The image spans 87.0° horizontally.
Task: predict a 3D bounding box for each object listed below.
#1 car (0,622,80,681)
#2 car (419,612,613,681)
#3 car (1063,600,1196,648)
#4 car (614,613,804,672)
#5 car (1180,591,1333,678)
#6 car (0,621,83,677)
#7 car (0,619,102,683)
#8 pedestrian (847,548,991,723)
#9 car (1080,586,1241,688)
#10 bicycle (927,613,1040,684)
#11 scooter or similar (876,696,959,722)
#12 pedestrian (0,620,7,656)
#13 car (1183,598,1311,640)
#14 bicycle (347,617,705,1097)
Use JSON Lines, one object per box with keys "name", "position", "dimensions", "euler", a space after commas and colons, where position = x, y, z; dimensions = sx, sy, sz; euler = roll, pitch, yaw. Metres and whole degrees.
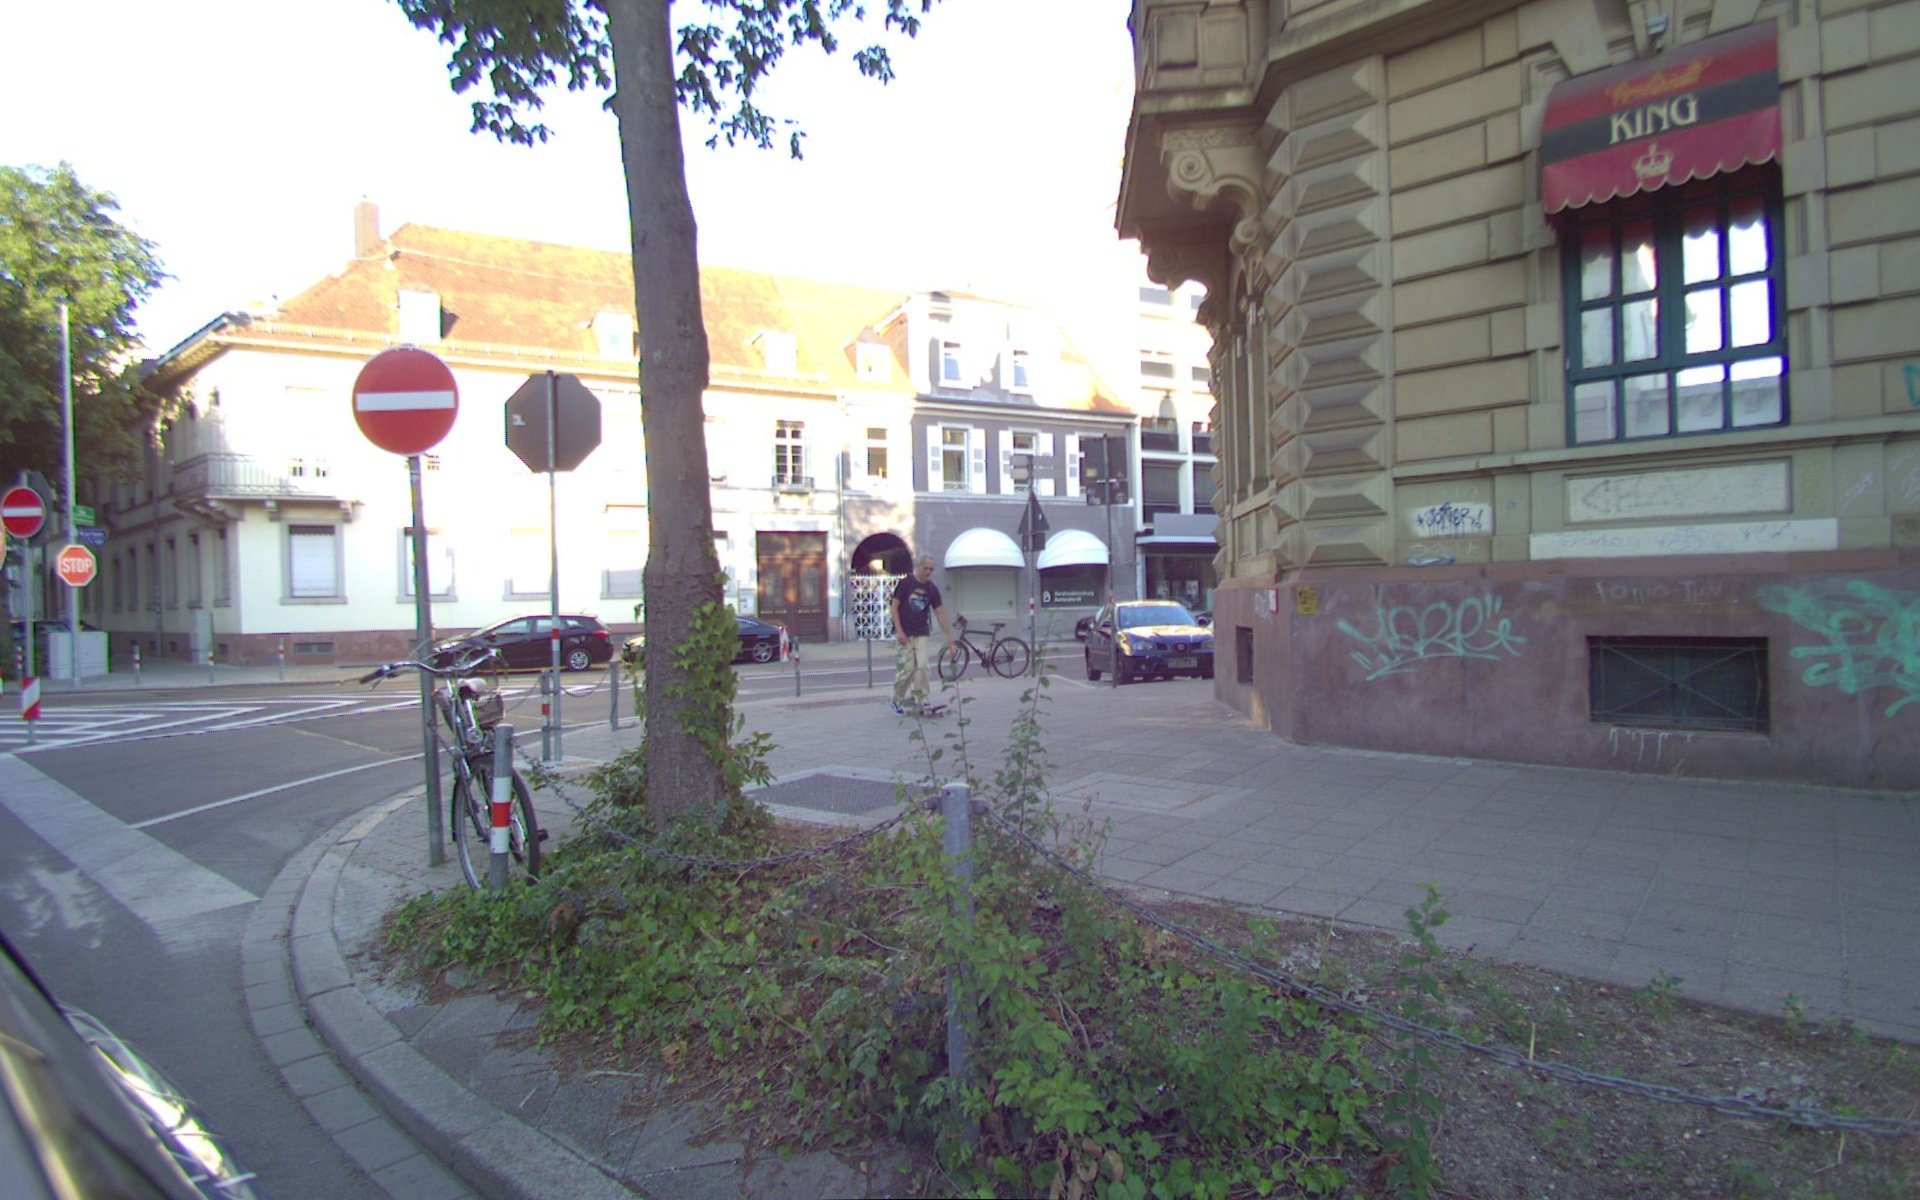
{"name": "car", "position": [-27.662, 1.482, 28.632], "dimensions": [1.721, 1.627, 3.948], "euler": [-2, -1, 38]}
{"name": "car", "position": [-11.214, 1.144, 25.683], "dimensions": [4.354, 1.553, 1.813], "euler": [-1, -1, -27]}
{"name": "car", "position": [5.766, 0.788, 34.391], "dimensions": [4.176, 1.458, 1.754], "euler": [-1, -1, -27]}
{"name": "car", "position": [-6.855, 1.134, 27.731], "dimensions": [4.773, 1.405, 1.784], "euler": [-1, -1, -25]}
{"name": "car", "position": [5.895, 0.714, 20.722], "dimensions": [1.744, 1.523, 4.627], "euler": [-2, -2, 1]}
{"name": "car", "position": [-29.238, 1.507, 30.535], "dimensions": [1.721, 1.627, 3.948], "euler": [-2, -1, 38]}
{"name": "car", "position": [-25.775, 1.377, 27.153], "dimensions": [1.826, 1.627, 3.948], "euler": [-2, -1, 38]}
{"name": "pedestrian", "position": [-0.453, 0.376, 10.893], "dimensions": [0.838, 1.752, 1.268], "euler": [-2, -2, -43]}
{"name": "car", "position": [3.240, 0.673, 17.132], "dimensions": [1.715, 1.472, 3.865], "euler": [-2, -3, -3]}
{"name": "bicycle", "position": [0.401, 0.839, 17.597], "dimensions": [1.773, 1.134, 0.730], "euler": [-2, -3, -18]}
{"name": "scooter or similar", "position": [-0.464, 1.163, 10.840], "dimensions": [0.412, 0.208, 0.883], "euler": [-2, -1, -43]}
{"name": "pedestrian", "position": [-49.143, 1.937, 51.475], "dimensions": [1.020, 1.784, 0.883], "euler": [-2, -1, 40]}
{"name": "car", "position": [10.434, 0.672, 36.736], "dimensions": [4.423, 1.398, 1.753], "euler": [-1, -1, -28]}
{"name": "bicycle", "position": [-1.880, 0.727, 4.038], "dimensions": [0.832, 1.277, 2.579], "euler": [0, -1, -34]}
